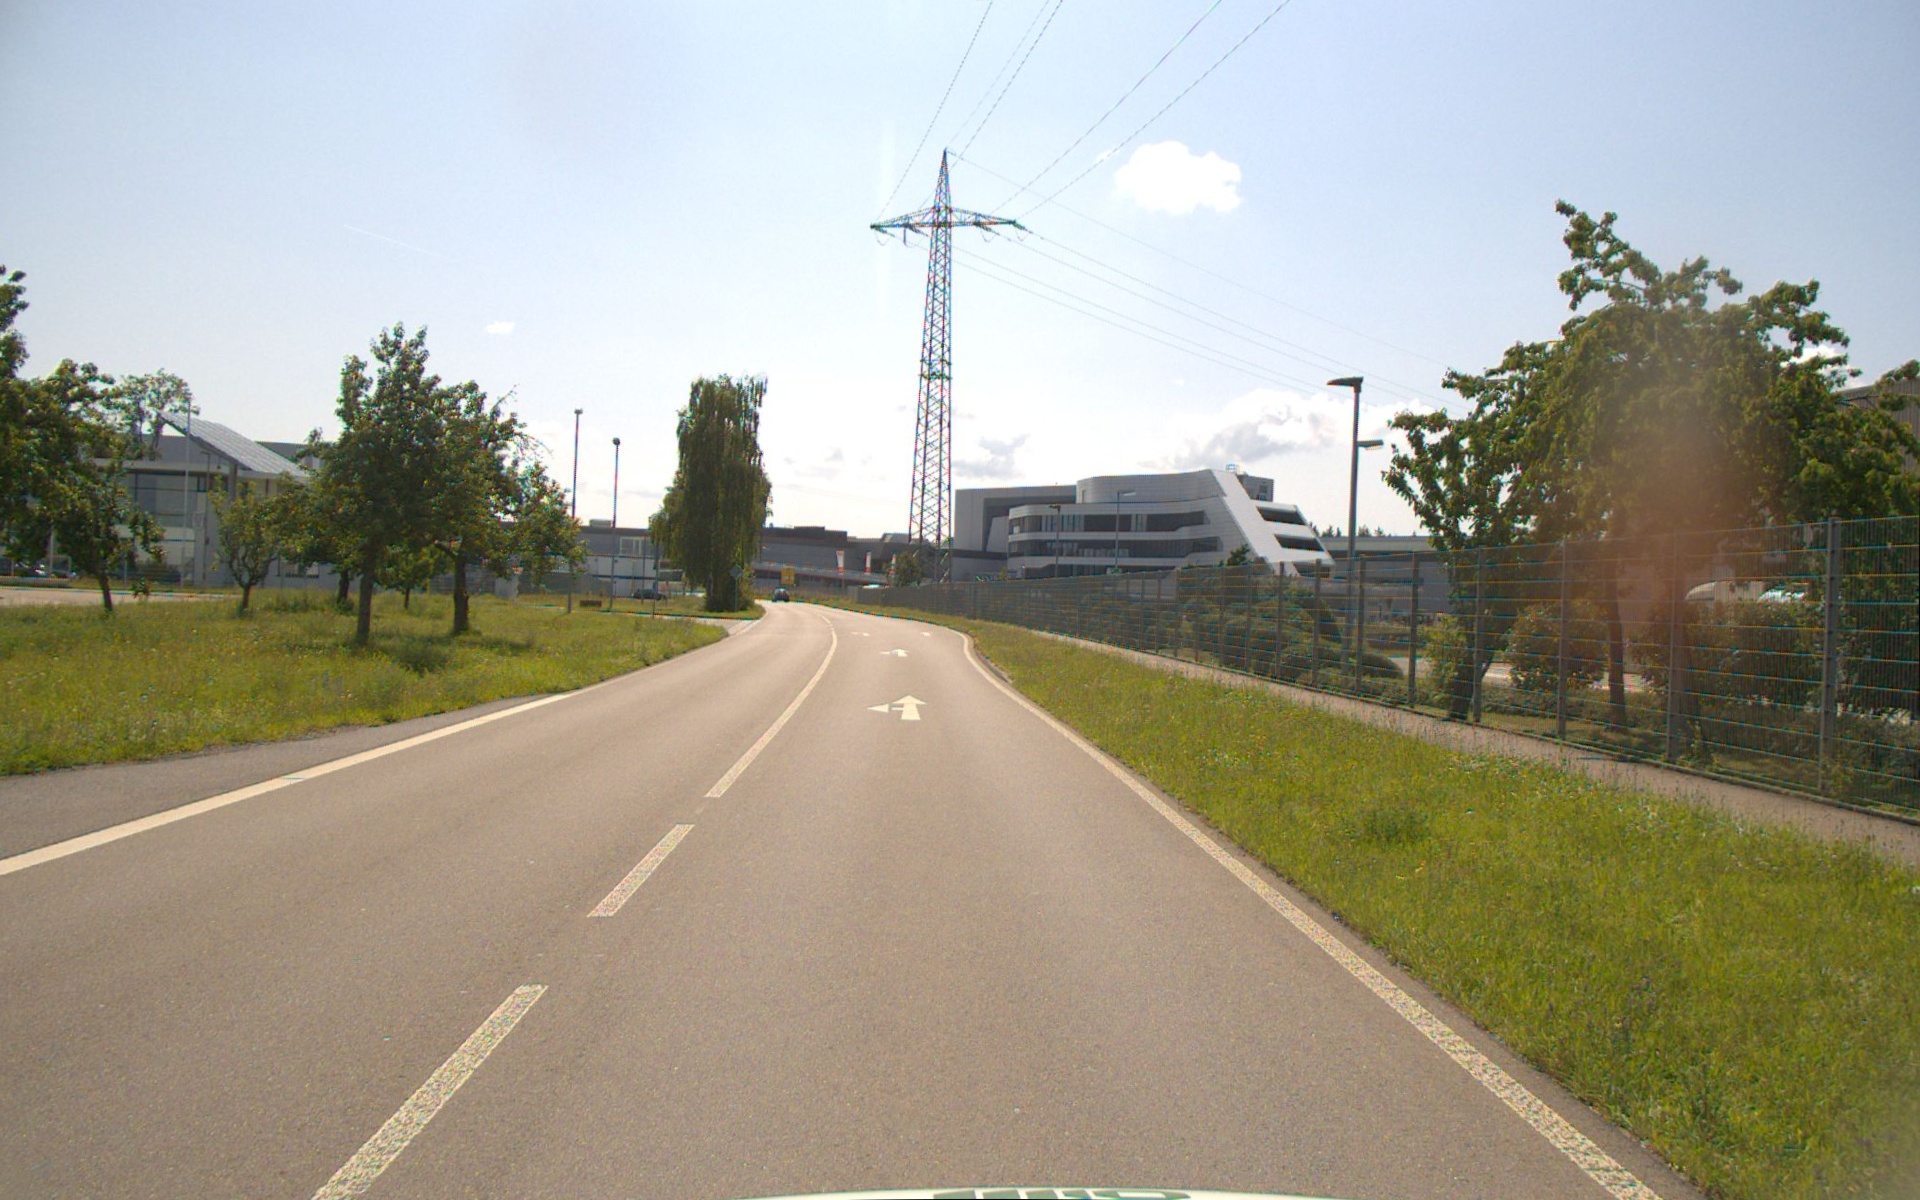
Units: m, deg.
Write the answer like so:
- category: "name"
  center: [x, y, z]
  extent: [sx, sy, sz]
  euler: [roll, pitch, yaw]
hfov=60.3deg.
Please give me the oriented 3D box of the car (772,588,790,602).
- category: "car"
  center: [-21.599, -0.622, 199.756]
  extent: [1.972, 1.534, 3.996]
  euler: [2, 0, -4]

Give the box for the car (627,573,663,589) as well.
- category: "car"
  center: [-35.370, -2.176, 185.840]
  extent: [3.913, 1.601, 1.996]
  euler: [3, 0, -9]

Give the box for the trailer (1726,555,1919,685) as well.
- category: "trailer"
  center: [29.181, 0.574, 51.575]
  extent: [3.523, 3.800, 12.216]
  euler: [1, 0, -8]
